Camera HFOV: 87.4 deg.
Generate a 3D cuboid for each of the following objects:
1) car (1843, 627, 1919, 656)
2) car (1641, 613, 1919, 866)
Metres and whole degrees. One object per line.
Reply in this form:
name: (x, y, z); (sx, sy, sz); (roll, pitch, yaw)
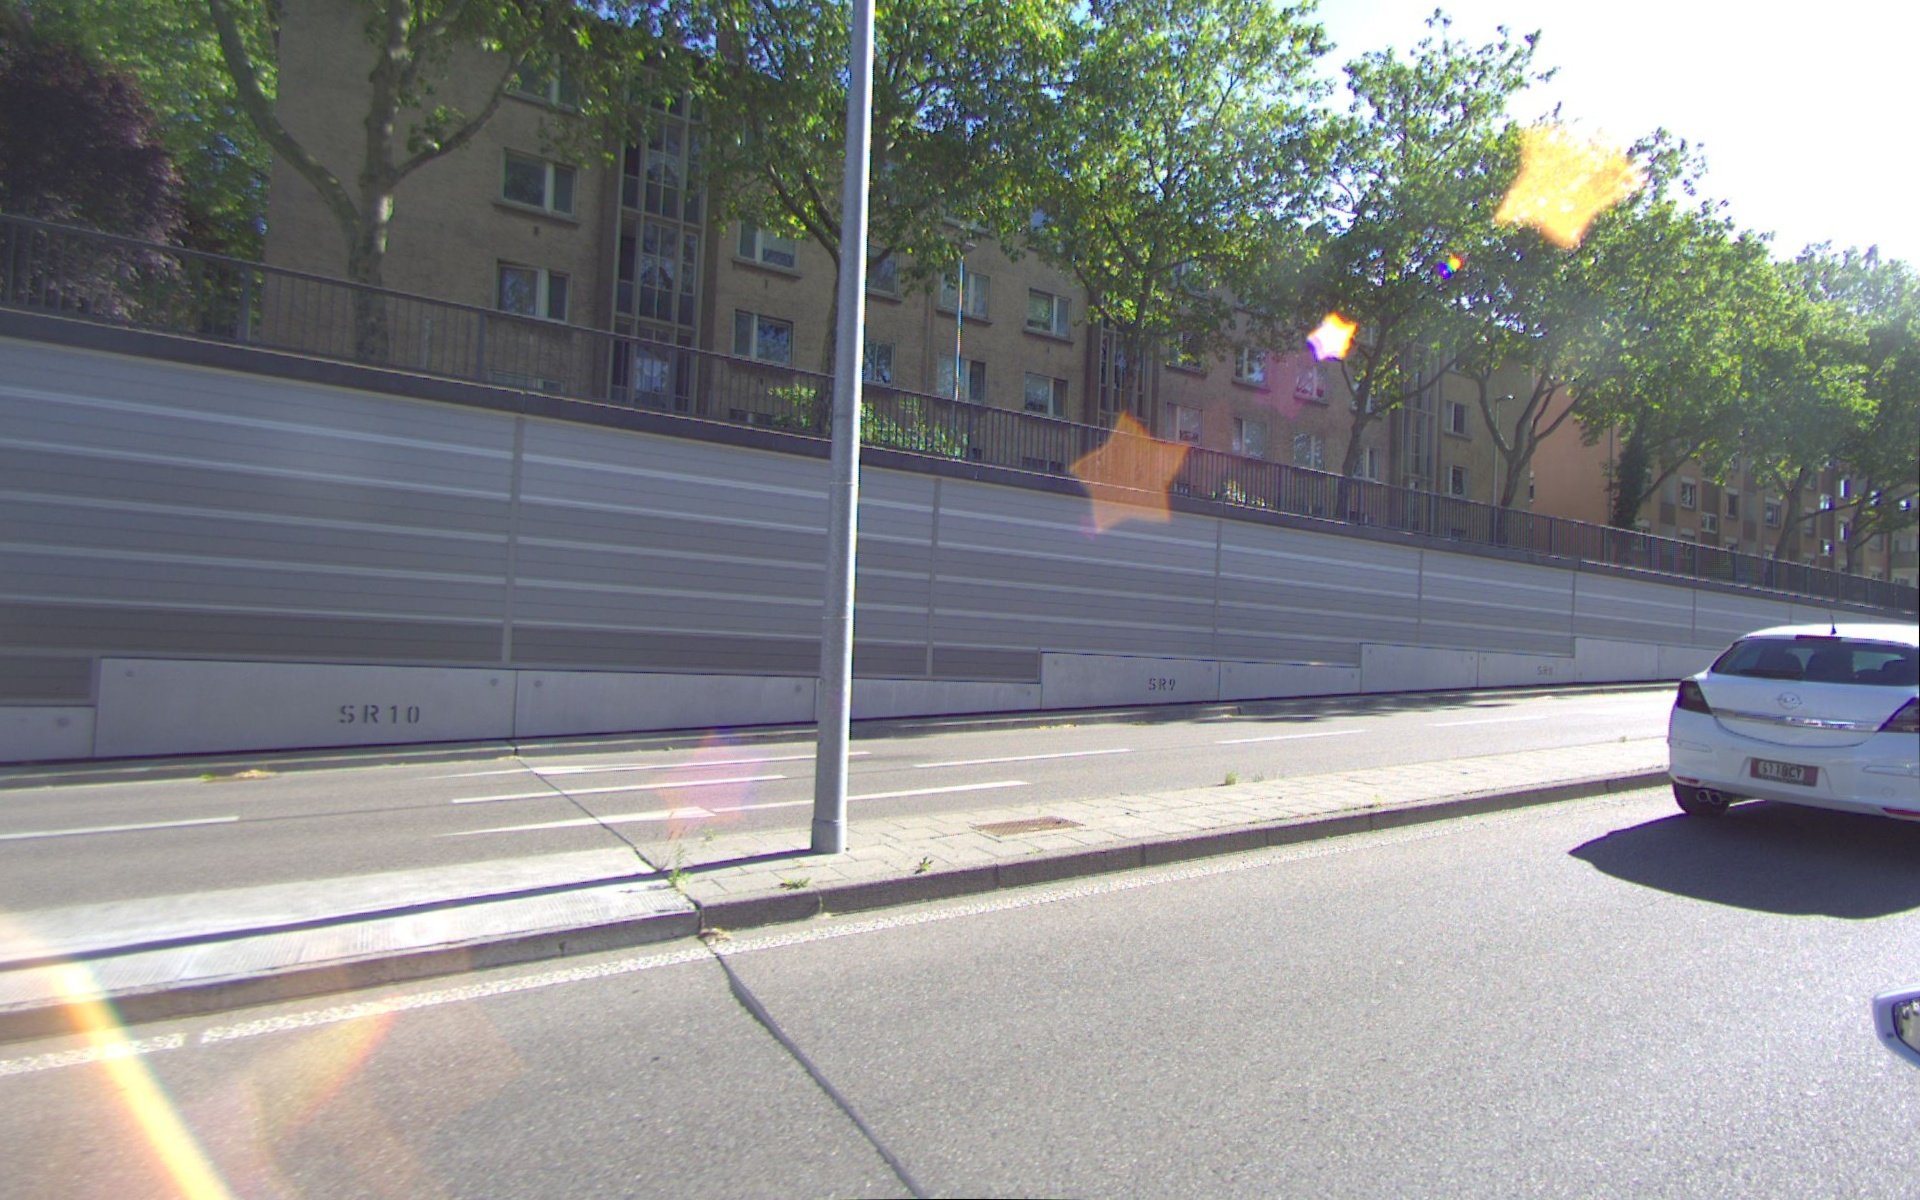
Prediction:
car: (50.291, 2.267, 54.796); (4.124, 1.407, 1.984); (3, -1, -30)
car: (6.823, 0.868, 7.311); (3.807, 1.422, 1.611); (2, 0, -31)
